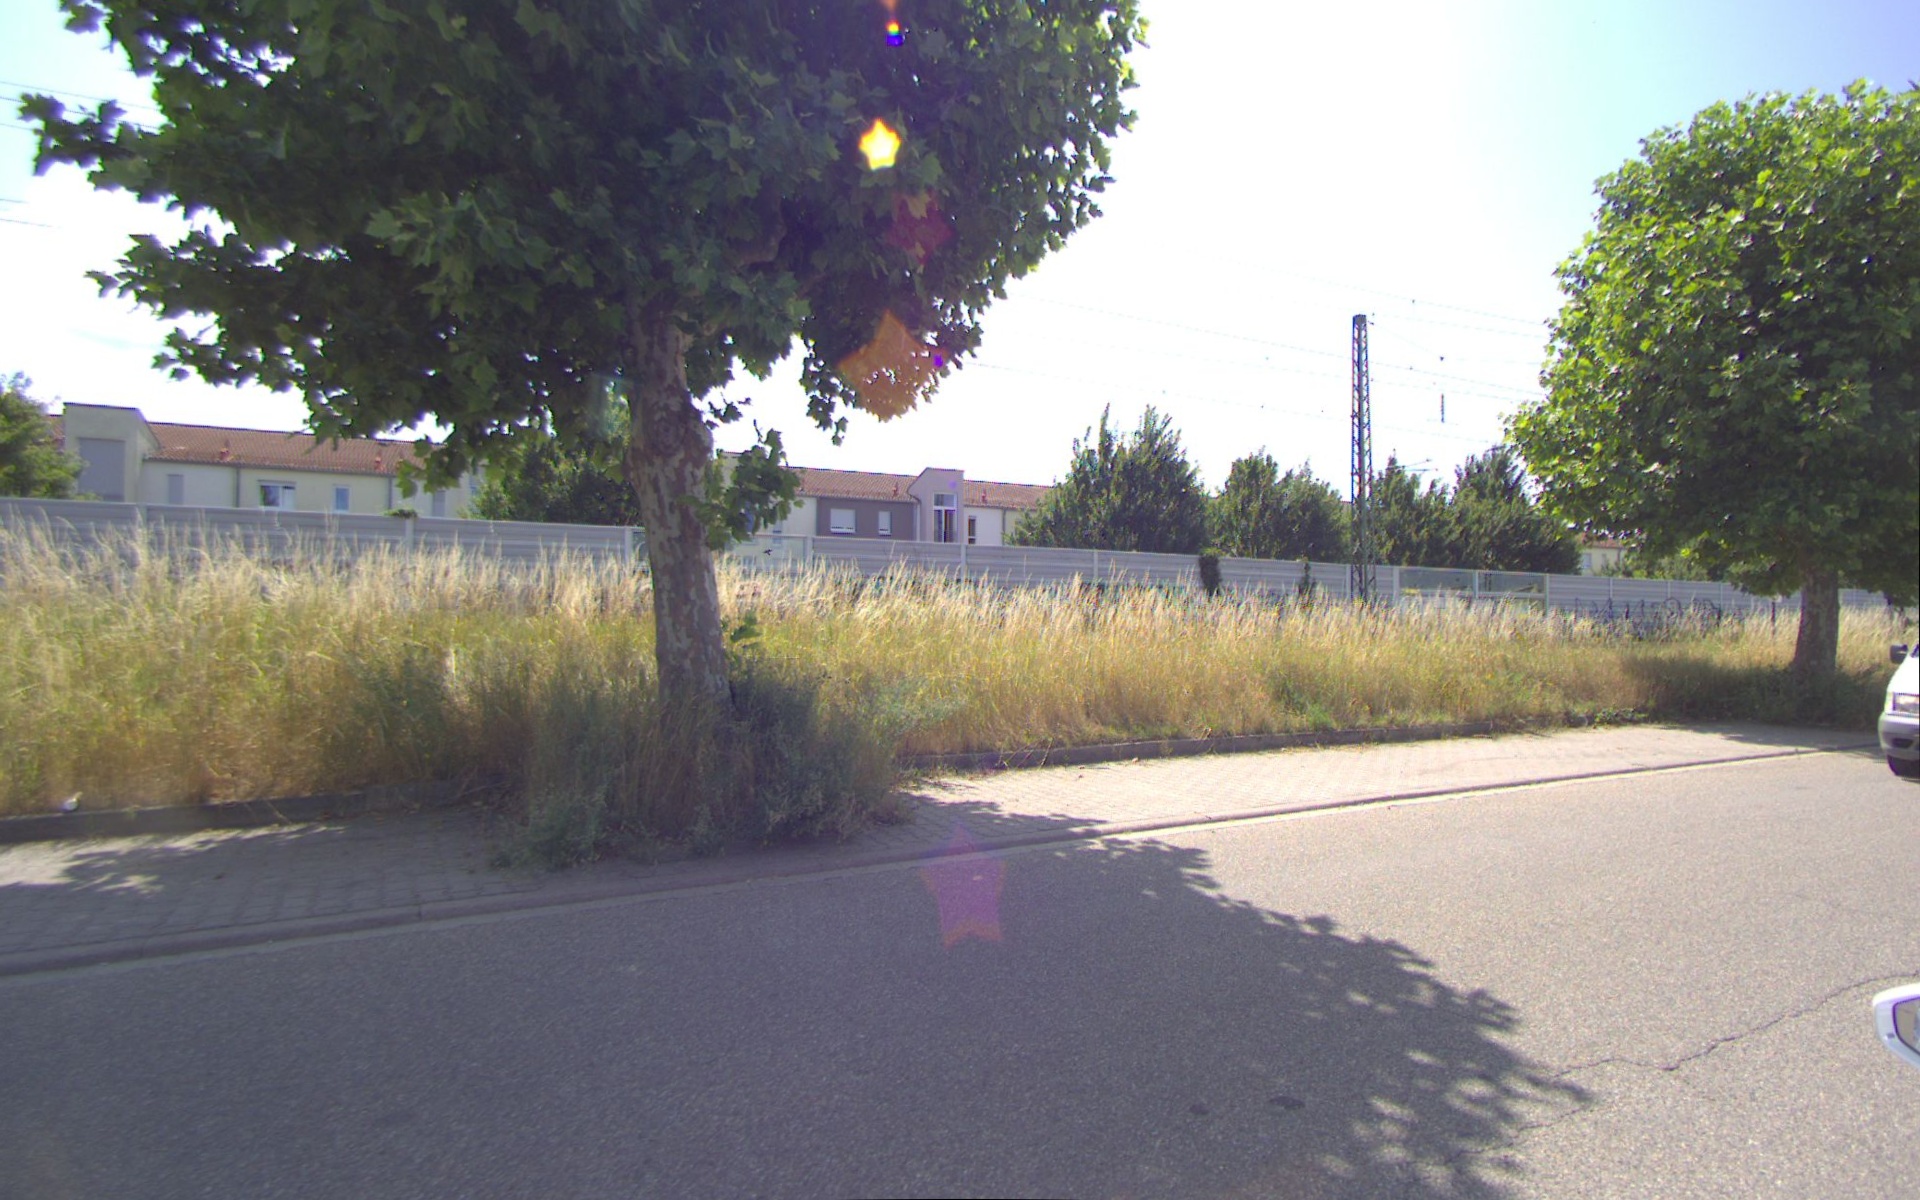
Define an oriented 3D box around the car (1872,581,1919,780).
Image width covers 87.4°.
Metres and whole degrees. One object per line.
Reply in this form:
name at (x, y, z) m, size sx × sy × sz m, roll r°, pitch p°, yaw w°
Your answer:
car at (11.285, 0.798, 10.167) m, size 4.431 × 1.882 × 1.829 m, roll 1°, pitch -1°, yaw -30°
